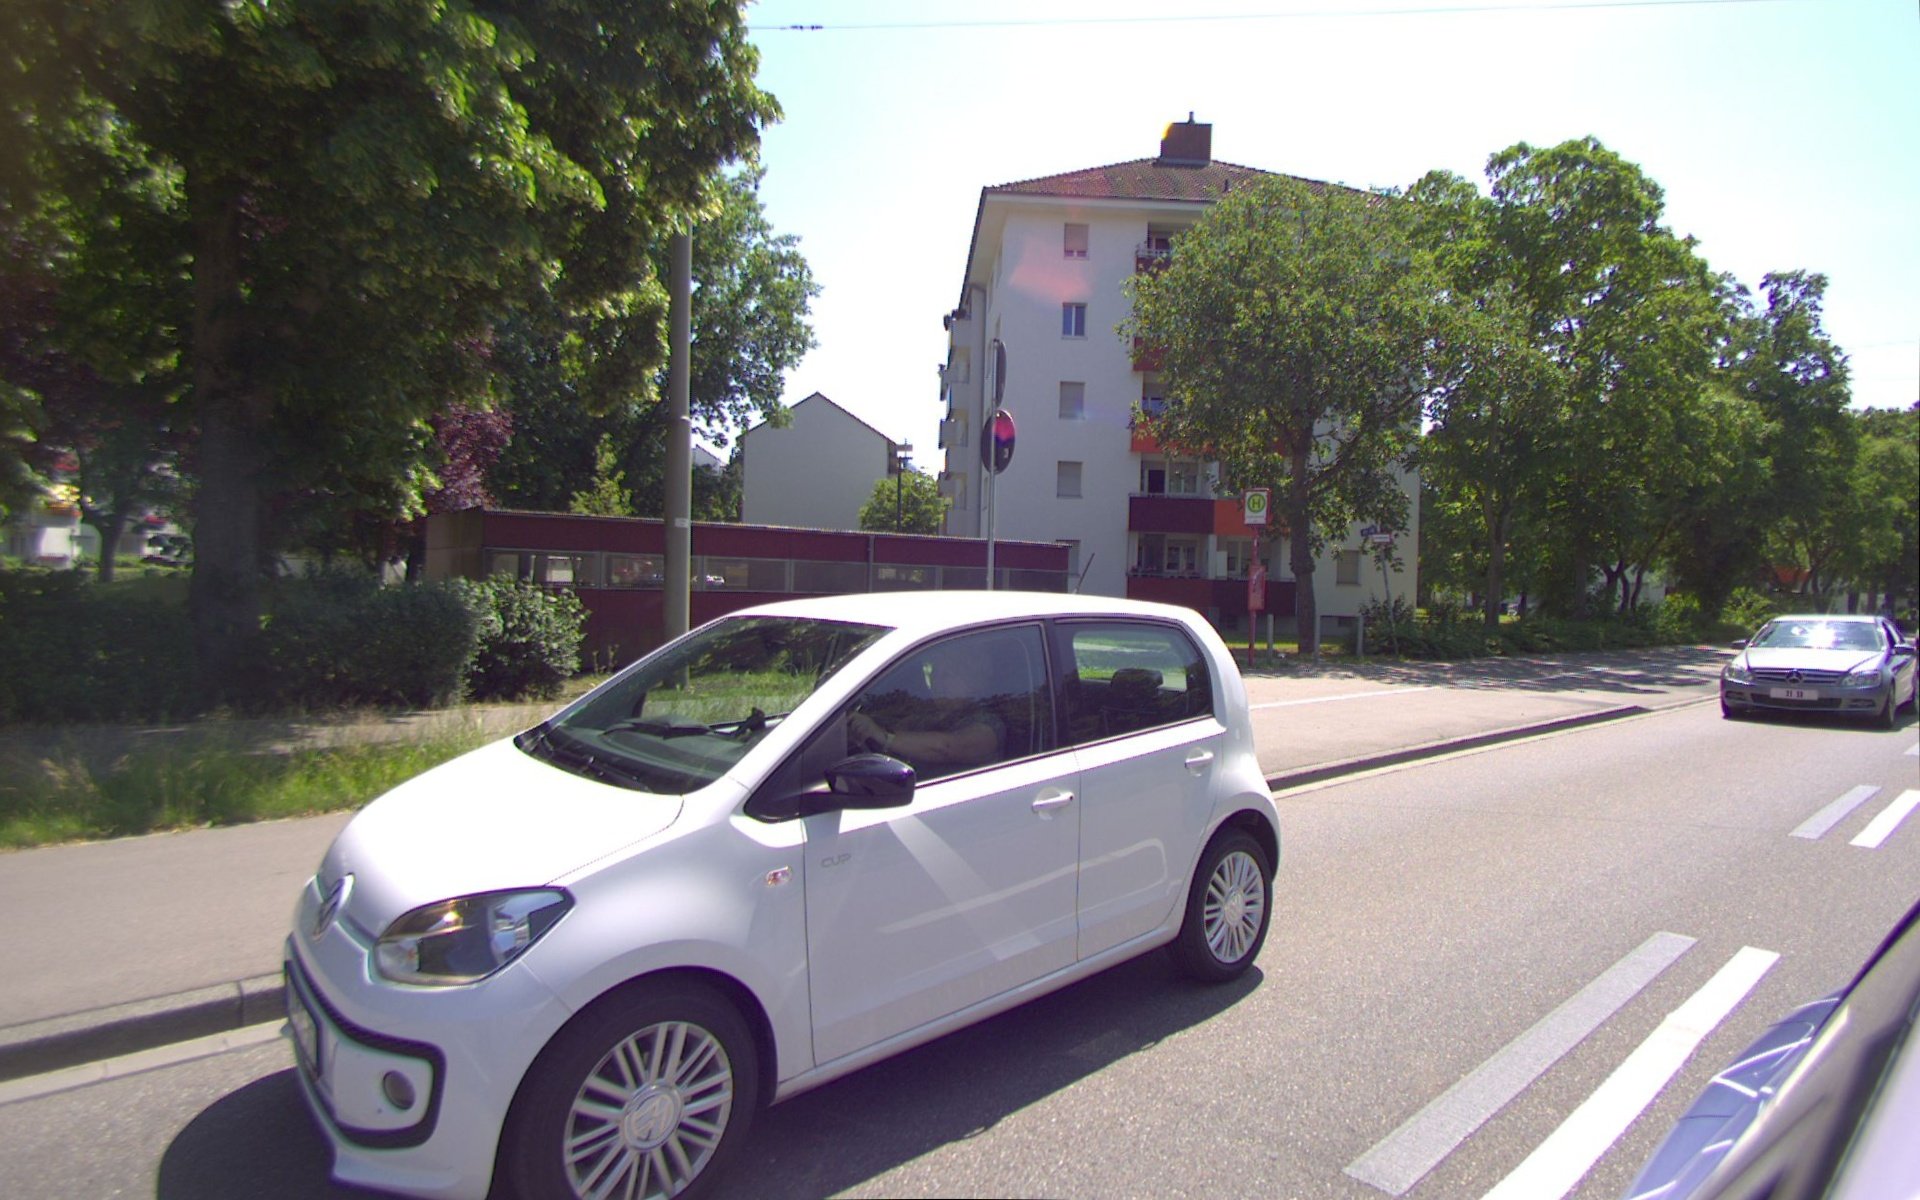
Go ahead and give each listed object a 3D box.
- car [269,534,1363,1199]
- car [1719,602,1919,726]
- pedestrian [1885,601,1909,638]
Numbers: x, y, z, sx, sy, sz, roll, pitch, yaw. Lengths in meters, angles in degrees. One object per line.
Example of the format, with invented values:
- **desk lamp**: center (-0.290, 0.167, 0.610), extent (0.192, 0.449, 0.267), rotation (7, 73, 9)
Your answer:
- **car**: center (-0.214, 0.606, 3.806), extent (3.787, 1.468, 1.662), rotation (0, 0, -41)
- **car**: center (12.299, 0.800, 14.191), extent (3.901, 1.478, 1.902), rotation (1, -1, -41)
- **pedestrian**: center (42.732, 0.865, 46.145), extent (0.841, 1.664, 0.670), rotation (1, 0, -39)
